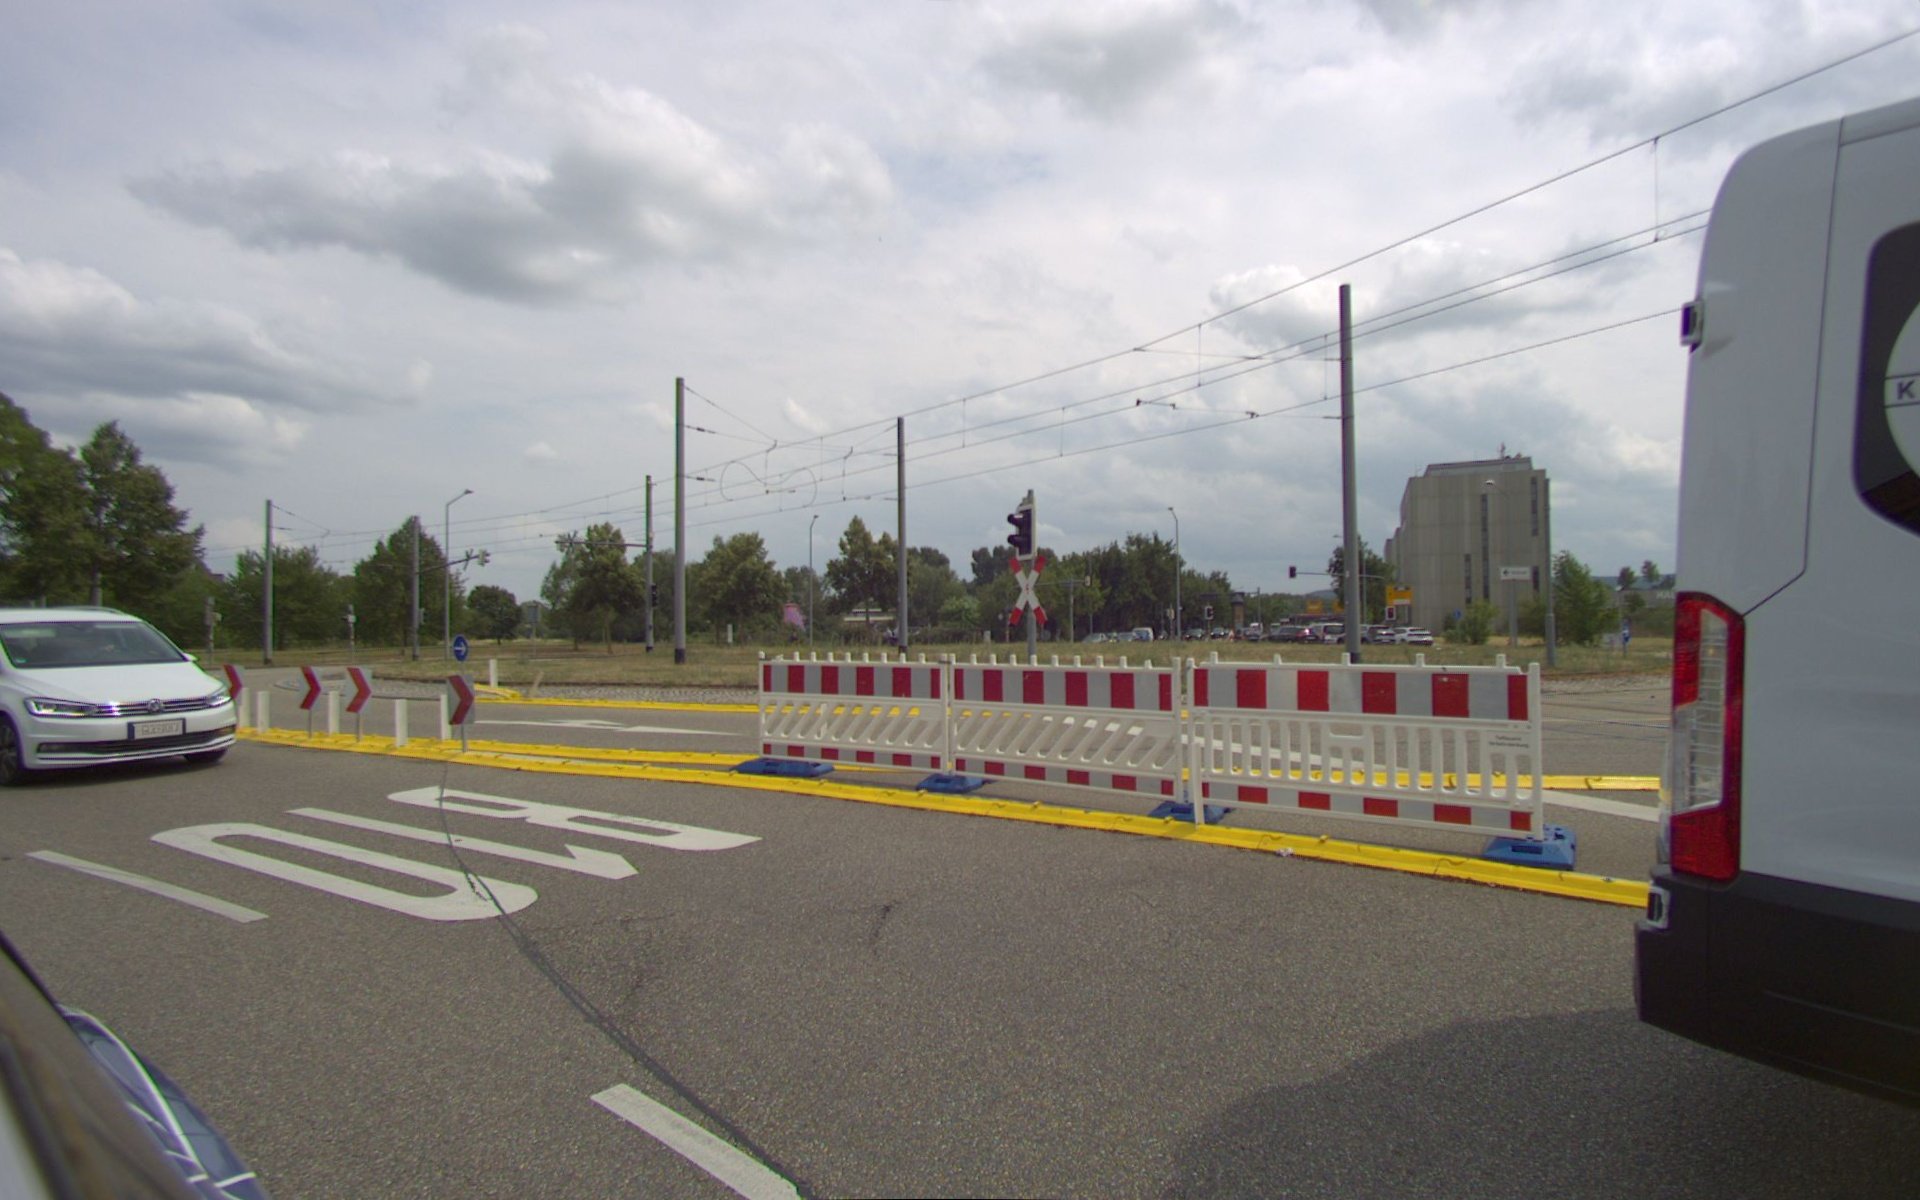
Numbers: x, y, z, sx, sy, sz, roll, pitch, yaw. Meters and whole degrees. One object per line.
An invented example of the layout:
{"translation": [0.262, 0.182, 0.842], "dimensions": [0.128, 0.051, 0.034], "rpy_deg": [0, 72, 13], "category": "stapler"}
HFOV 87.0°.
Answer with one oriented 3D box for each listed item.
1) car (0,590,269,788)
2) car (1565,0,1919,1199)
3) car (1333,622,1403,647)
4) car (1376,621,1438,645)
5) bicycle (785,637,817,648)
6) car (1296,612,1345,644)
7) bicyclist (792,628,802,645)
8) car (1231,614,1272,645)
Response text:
{"translation": [-9.399, 0.800, 10.447], "dimensions": [4.334, 1.678, 1.920], "rpy_deg": [-2, 0, 28], "category": "car"}
{"translation": [4.028, -0.135, 0.859], "dimensions": [2.101, 2.718, 5.636], "rpy_deg": [1, -3, -43], "category": "car"}
{"translation": [24.999, 2.115, 62.088], "dimensions": [1.802, 1.475, 4.012], "rpy_deg": [1, -2, -18], "category": "car"}
{"translation": [28.766, 2.146, 65.307], "dimensions": [1.804, 1.475, 4.007], "rpy_deg": [1, -2, -8], "category": "car"}
{"translation": [-13.840, 3.693, 87.922], "dimensions": [2.625, 0.861, 0.863], "rpy_deg": [-1, -2, 5], "category": "bicycle"}
{"translation": [24.535, 1.919, 69.063], "dimensions": [1.975, 2.029, 4.355], "rpy_deg": [4, -2, 5], "category": "car"}
{"translation": [-14.208, 3.156, 87.960], "dimensions": [0.665, 1.420, 0.863], "rpy_deg": [-1, -2, 5], "category": "bicyclist"}
{"translation": [19.928, 2.046, 69.313], "dimensions": [1.975, 2.029, 3.994], "rpy_deg": [1, -2, 5], "category": "car"}
